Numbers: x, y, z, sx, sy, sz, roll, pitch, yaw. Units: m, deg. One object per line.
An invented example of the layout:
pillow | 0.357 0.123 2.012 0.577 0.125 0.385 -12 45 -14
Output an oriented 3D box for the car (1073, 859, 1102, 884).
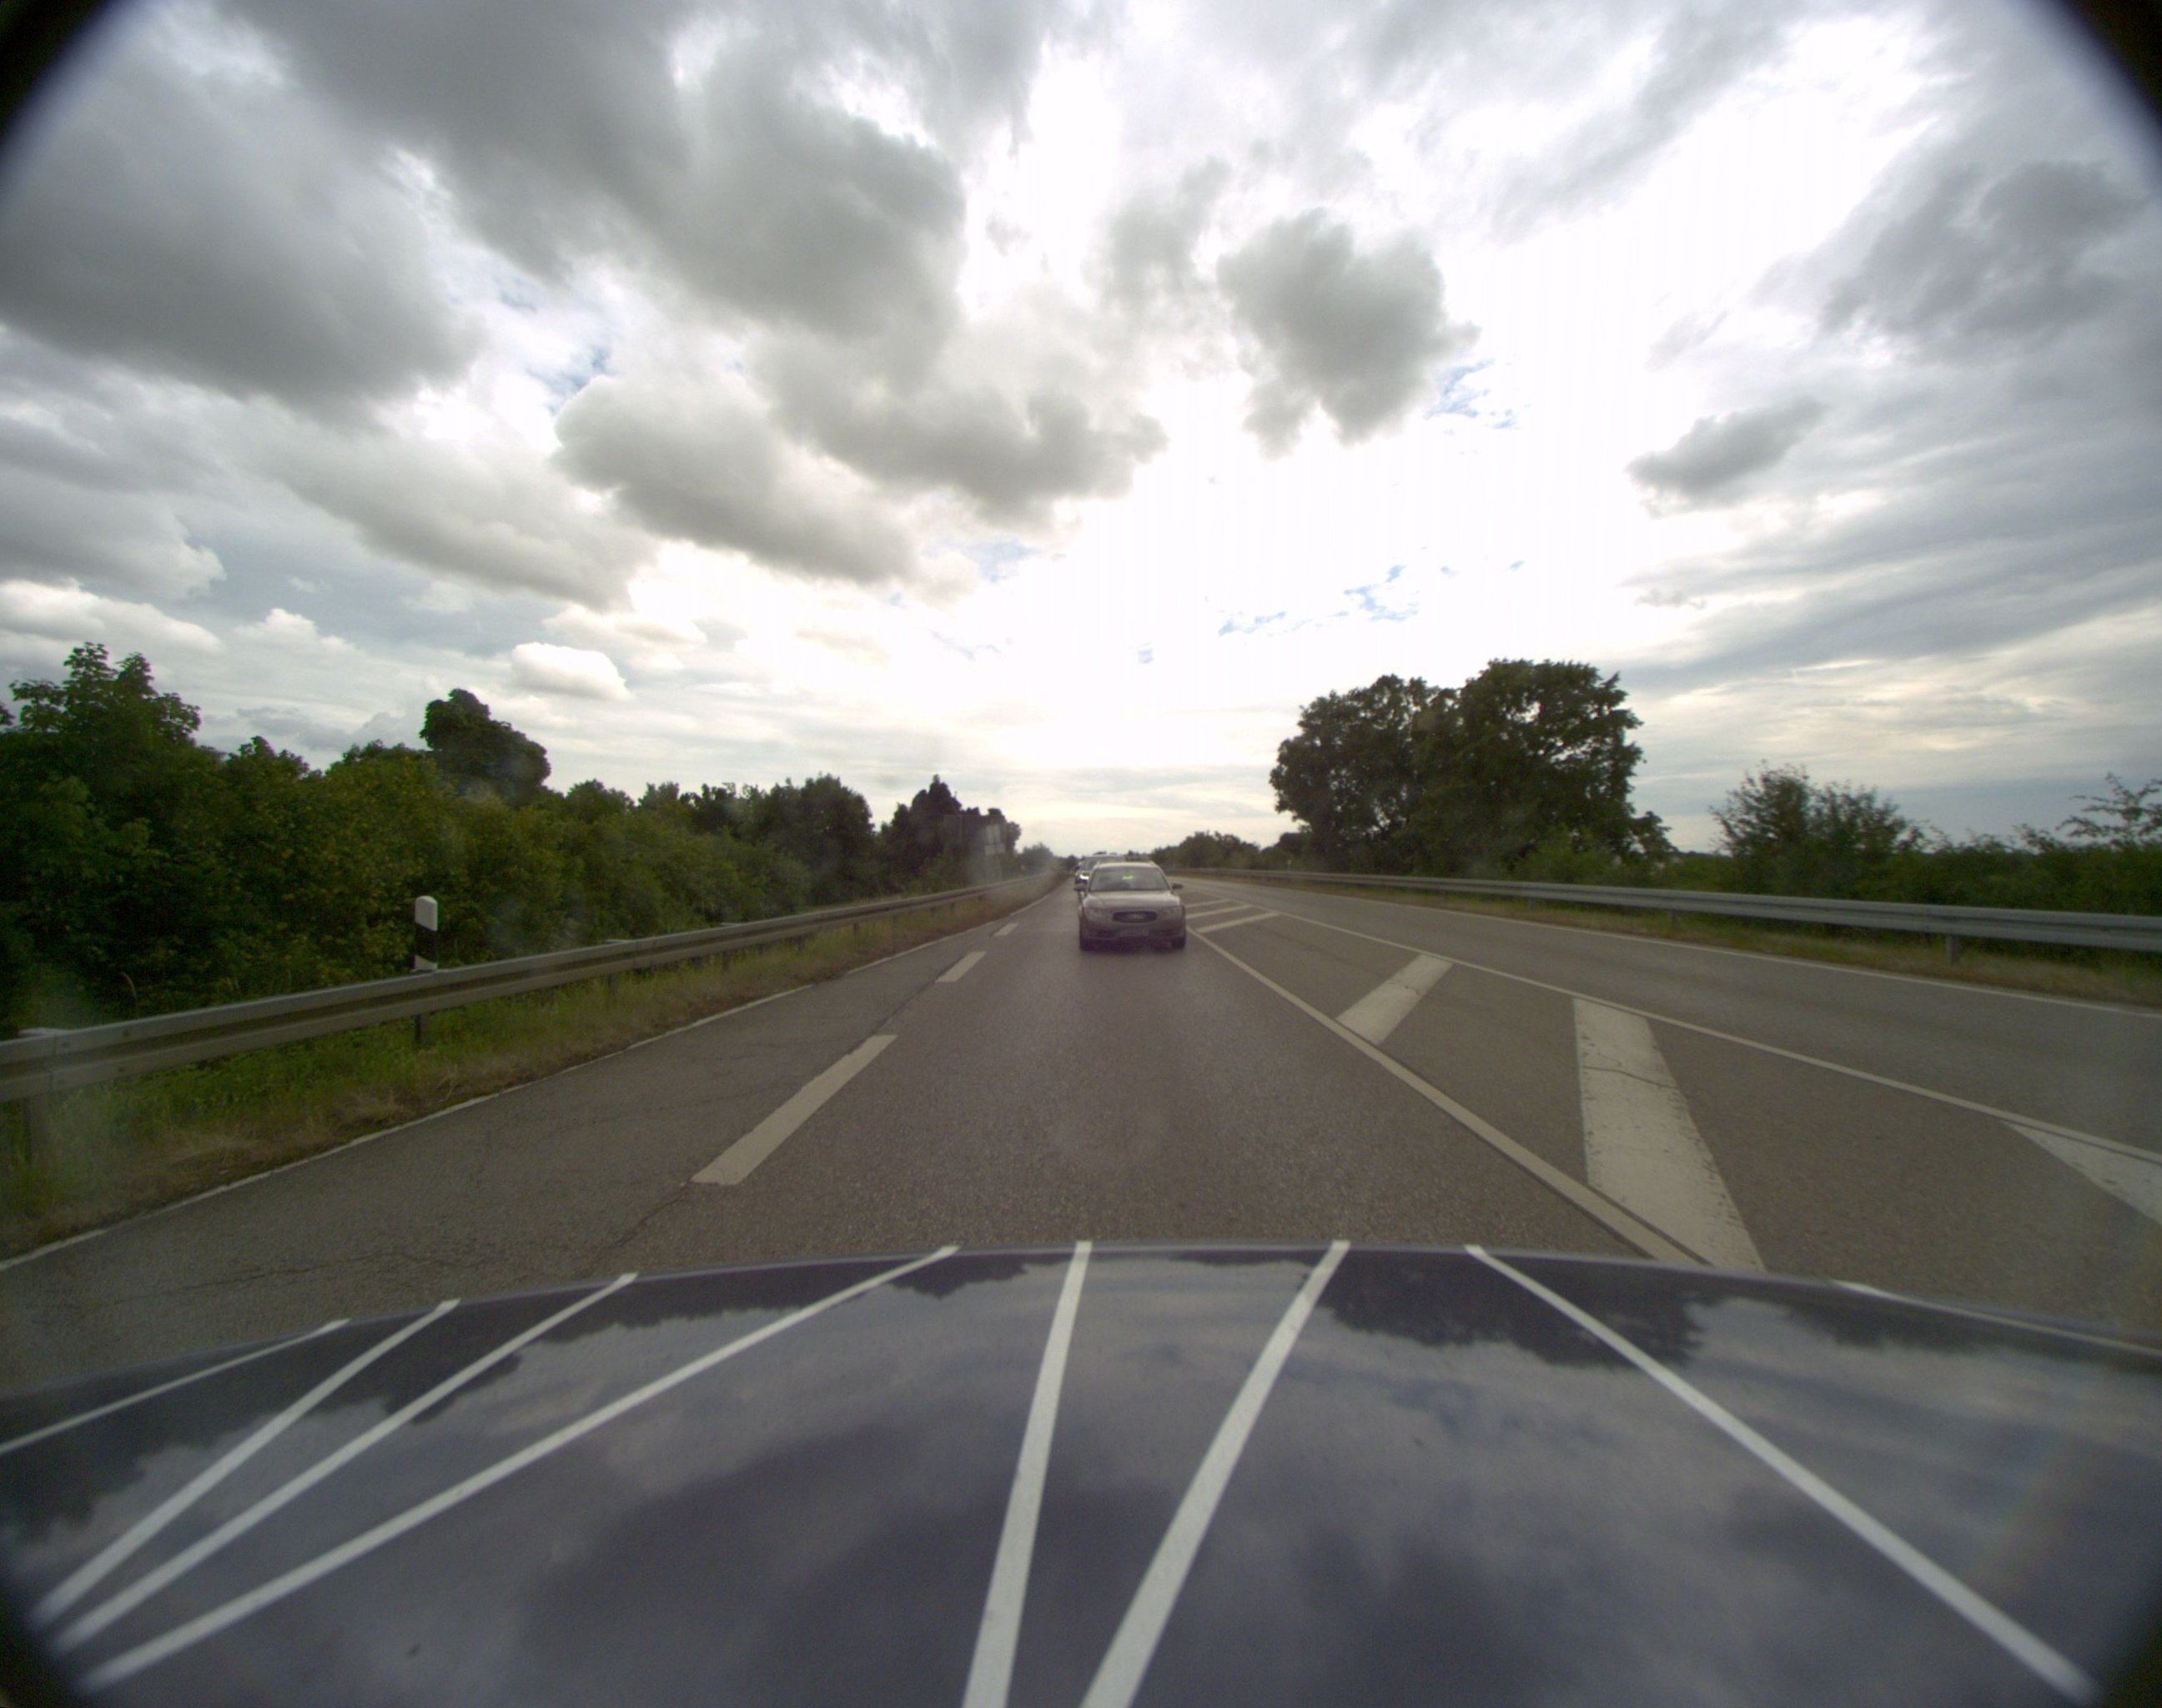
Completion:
car | 0.431 1.149 51.108 1.834 1.537 4.035 -1 0 1

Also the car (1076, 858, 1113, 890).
car | 0.731 1.027 40.544 1.834 1.537 4.035 -1 0 1

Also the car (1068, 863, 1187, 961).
car | 0.741 0.913 13.623 1.784 1.441 4.035 -1 0 1

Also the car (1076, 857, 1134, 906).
car | 0.797 0.908 26.536 1.834 1.537 4.035 -1 0 1

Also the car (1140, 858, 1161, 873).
car | 7.024 1.172 77.205 1.675 1.421 4.258 -1 0 0
